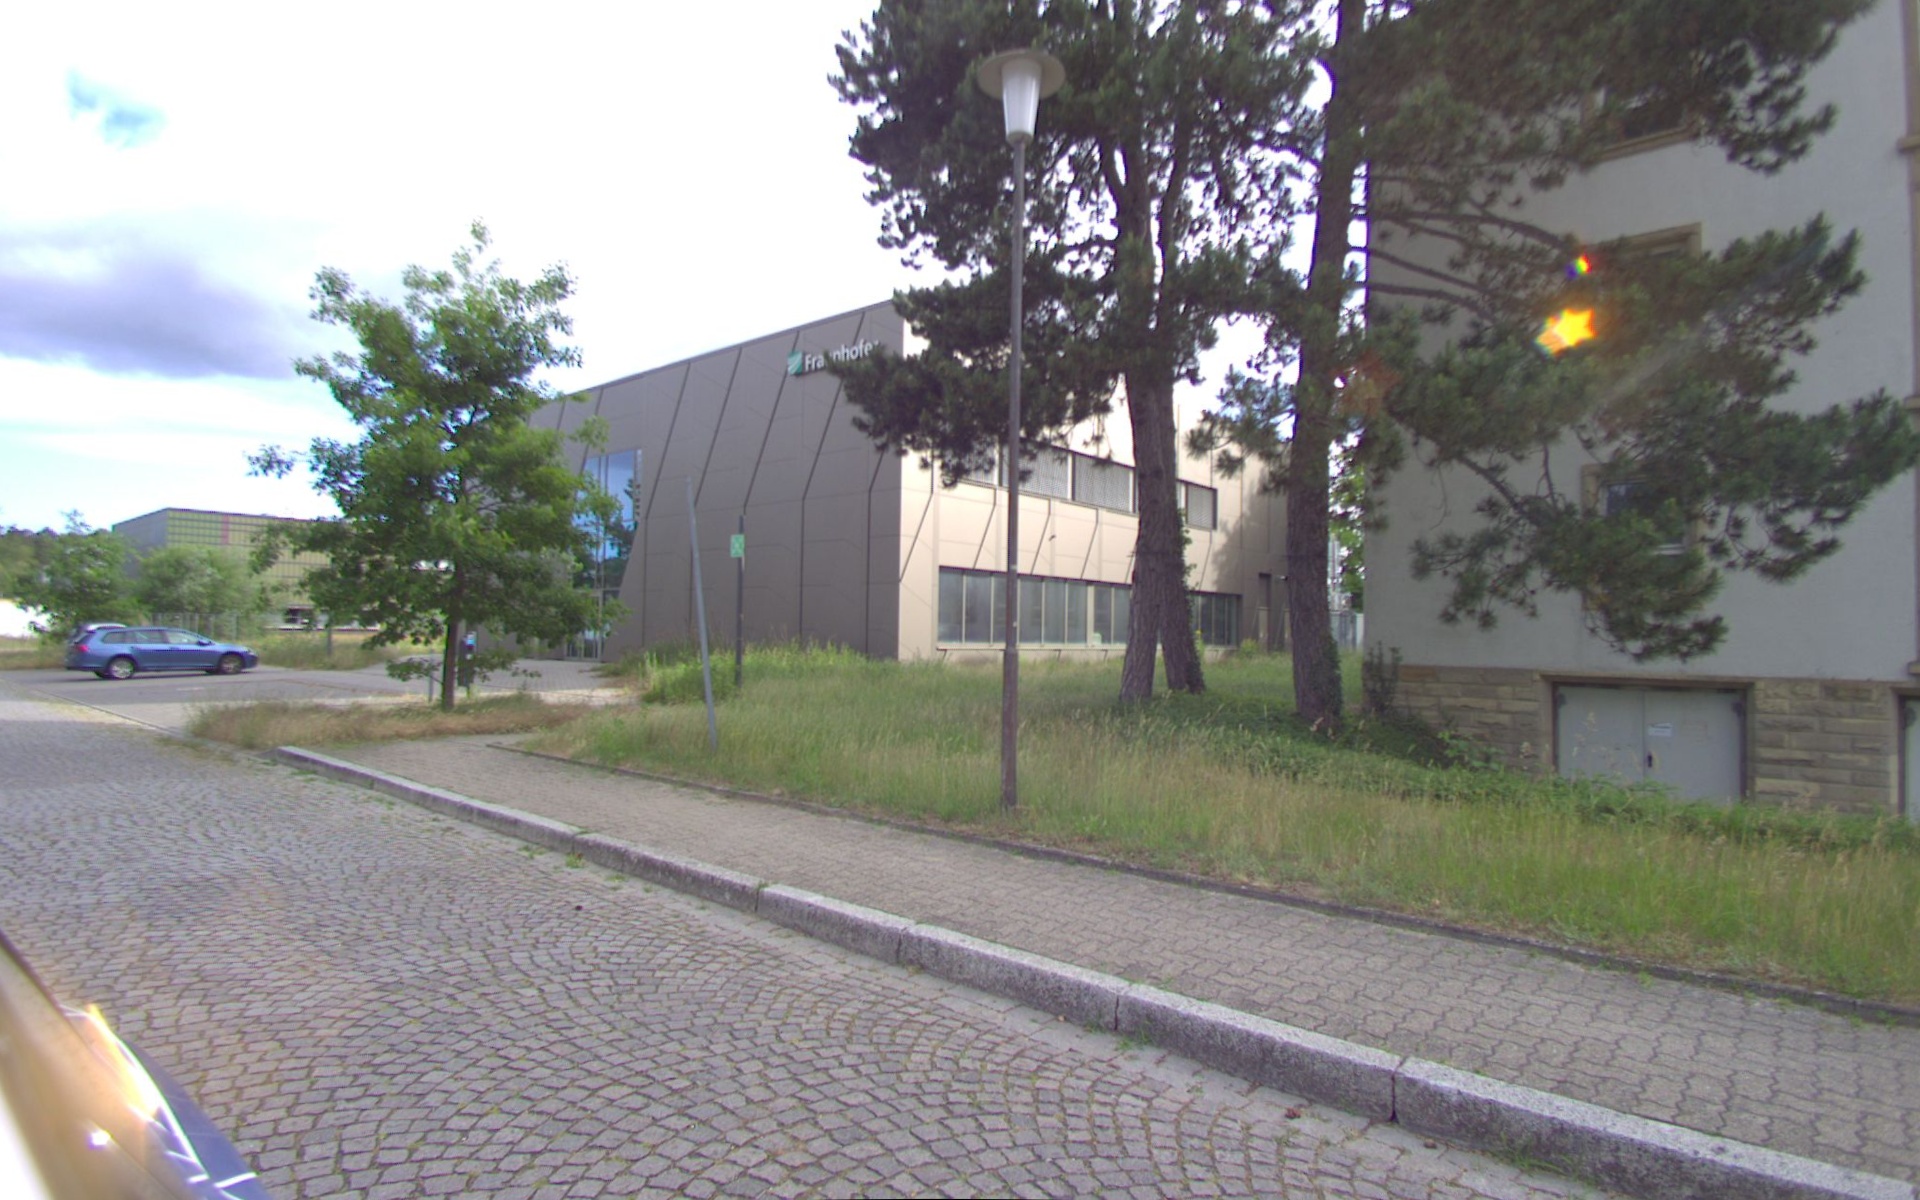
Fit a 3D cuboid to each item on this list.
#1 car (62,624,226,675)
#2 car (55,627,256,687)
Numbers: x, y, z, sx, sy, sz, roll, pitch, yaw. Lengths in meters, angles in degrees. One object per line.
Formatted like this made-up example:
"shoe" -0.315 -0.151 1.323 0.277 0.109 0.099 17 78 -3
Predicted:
"car" -28.308 1.669 35.180 4.339 1.558 1.843 0 -1 -43
"car" -23.434 1.604 29.637 1.715 1.522 4.350 -1 0 38
